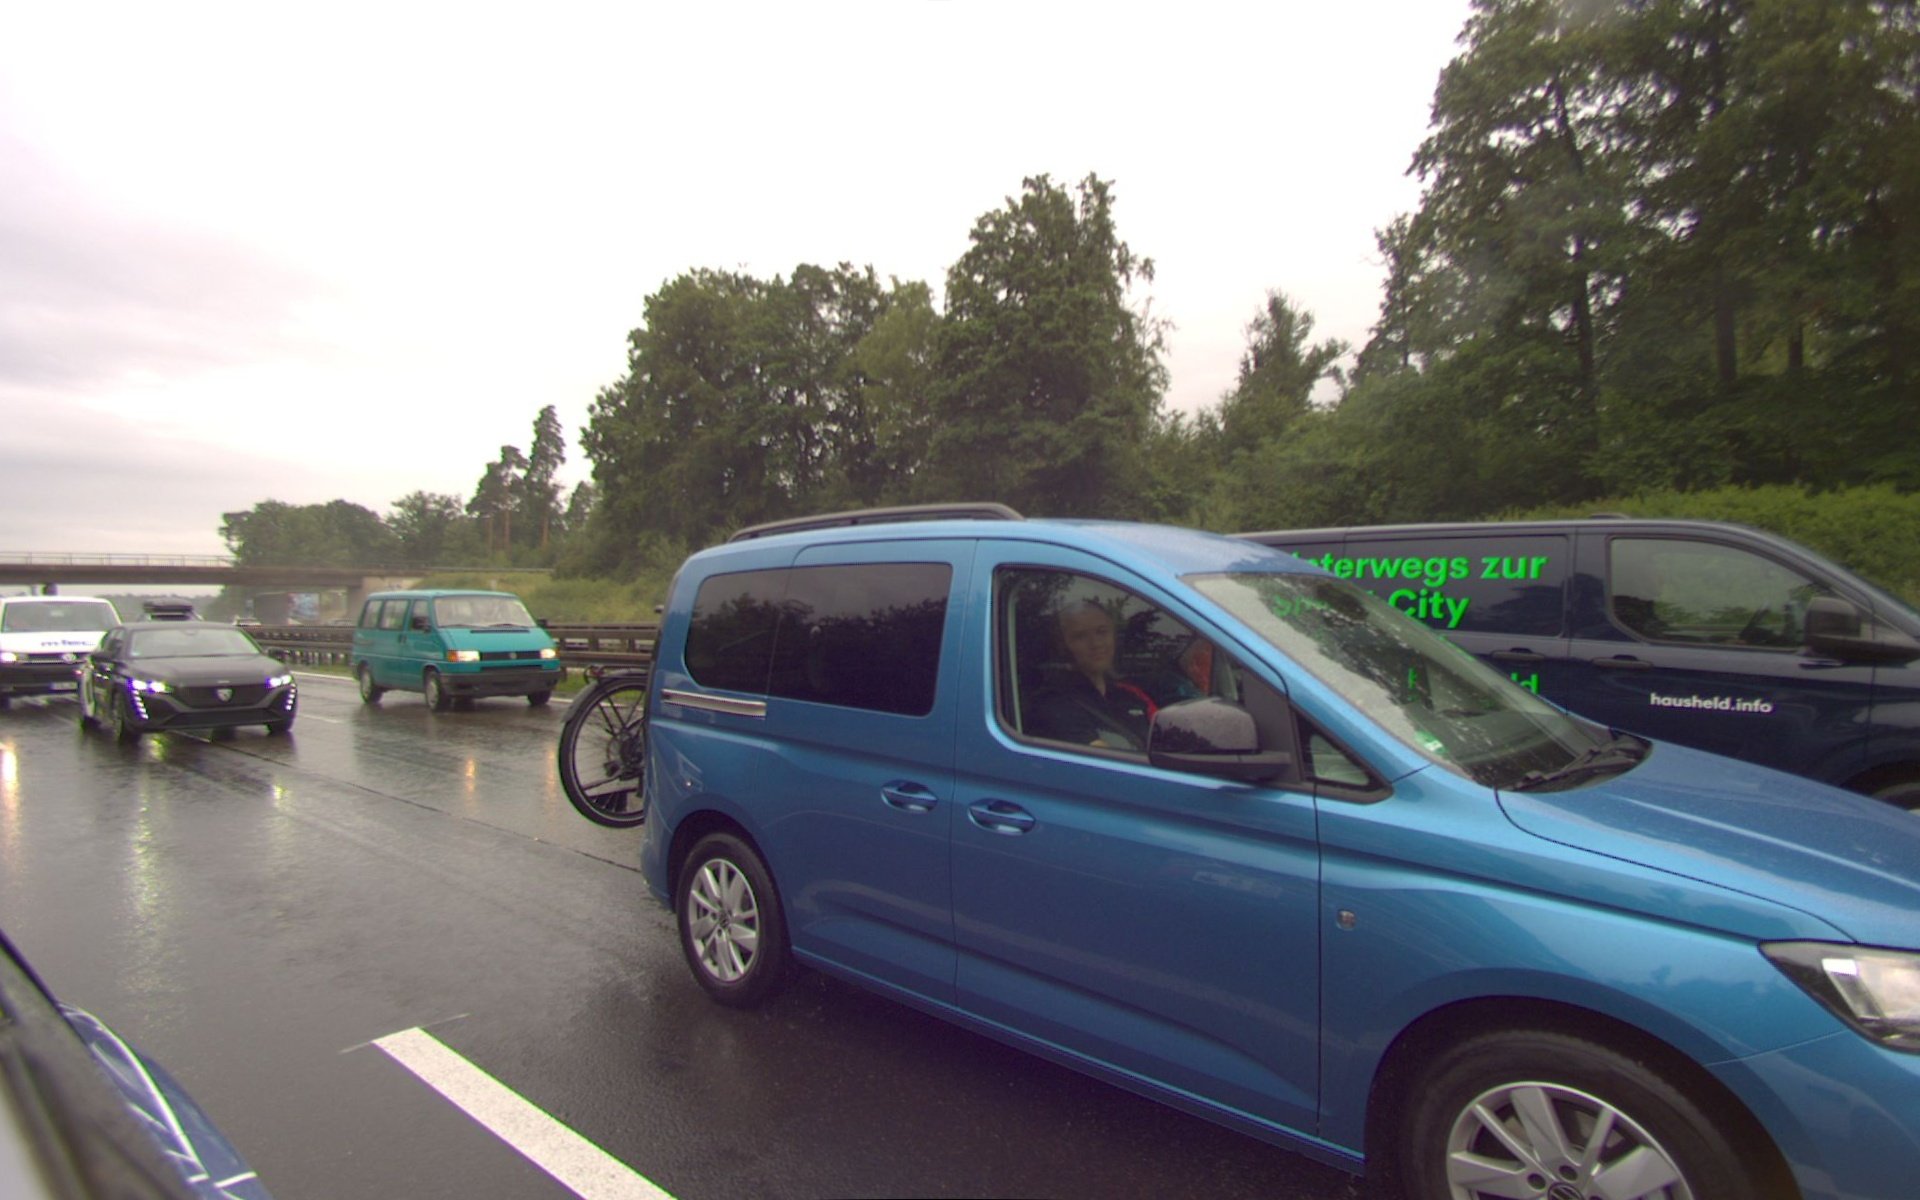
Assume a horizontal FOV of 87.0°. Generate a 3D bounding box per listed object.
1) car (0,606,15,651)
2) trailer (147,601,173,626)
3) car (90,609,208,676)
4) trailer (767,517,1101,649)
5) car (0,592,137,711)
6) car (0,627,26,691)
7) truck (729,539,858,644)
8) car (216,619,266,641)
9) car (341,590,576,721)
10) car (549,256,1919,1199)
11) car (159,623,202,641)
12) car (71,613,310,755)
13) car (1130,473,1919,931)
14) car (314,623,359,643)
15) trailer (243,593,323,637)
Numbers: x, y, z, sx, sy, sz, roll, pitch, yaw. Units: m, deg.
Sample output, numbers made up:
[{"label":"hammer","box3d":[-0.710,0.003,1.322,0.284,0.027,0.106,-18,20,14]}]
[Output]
[{"label":"car","box3d":[-35.709,1.047,36.579,4.767,1.572,1.968,-2,-1,43]},{"label":"trailer","box3d":[-128.455,2.228,162.475,2.650,3.847,9.016,0,-1,-42]},{"label":"car","box3d":[-24.455,1.216,30.452,4.603,1.839,1.957,-1,0,41]},{"label":"trailer","box3d":[-1.524,-0.375,36.274,13.956,3.984,2.691,-1,-2,42]},{"label":"car","box3d":[-16.603,0.875,18.398,4.768,1.894,1.968,-2,-1,44]},{"label":"car","box3d":[-25.069,1.467,25.615,4.467,1.516,1.825,-1,-1,44]},{"label":"truck","box3d":[-6.770,-0.260,40.970,4.889,3.984,2.675,-1,-2,42]},{"label":"car","box3d":[-52.168,2.201,73.404,4.705,1.519,1.972,-2,-2,42]},{"label":"car","box3d":[-8.433,0.830,16.803,4.758,1.877,1.890,-1,0,42]},{"label":"car","box3d":[0.743,0.489,3.697,5.015,1.926,2.245,-2,-1,43]},{"label":"car","box3d":[-67.801,2.772,88.032,4.702,1.519,1.974,-2,-2,40]},{"label":"car","box3d":[-10.127,0.947,13.178,4.467,1.516,1.825,-1,-1,44]},{"label":"car","box3d":[3.774,0.449,5.992,5.243,1.958,1.969,-1,0,43]},{"label":"car","box3d":[-43.443,2.322,70.489,3.755,1.314,1.683,-2,-1,42]},{"label":"trailer","box3d":[-63.527,1.467,94.753,13.555,3.847,2.992,-2,-1,42]}]
